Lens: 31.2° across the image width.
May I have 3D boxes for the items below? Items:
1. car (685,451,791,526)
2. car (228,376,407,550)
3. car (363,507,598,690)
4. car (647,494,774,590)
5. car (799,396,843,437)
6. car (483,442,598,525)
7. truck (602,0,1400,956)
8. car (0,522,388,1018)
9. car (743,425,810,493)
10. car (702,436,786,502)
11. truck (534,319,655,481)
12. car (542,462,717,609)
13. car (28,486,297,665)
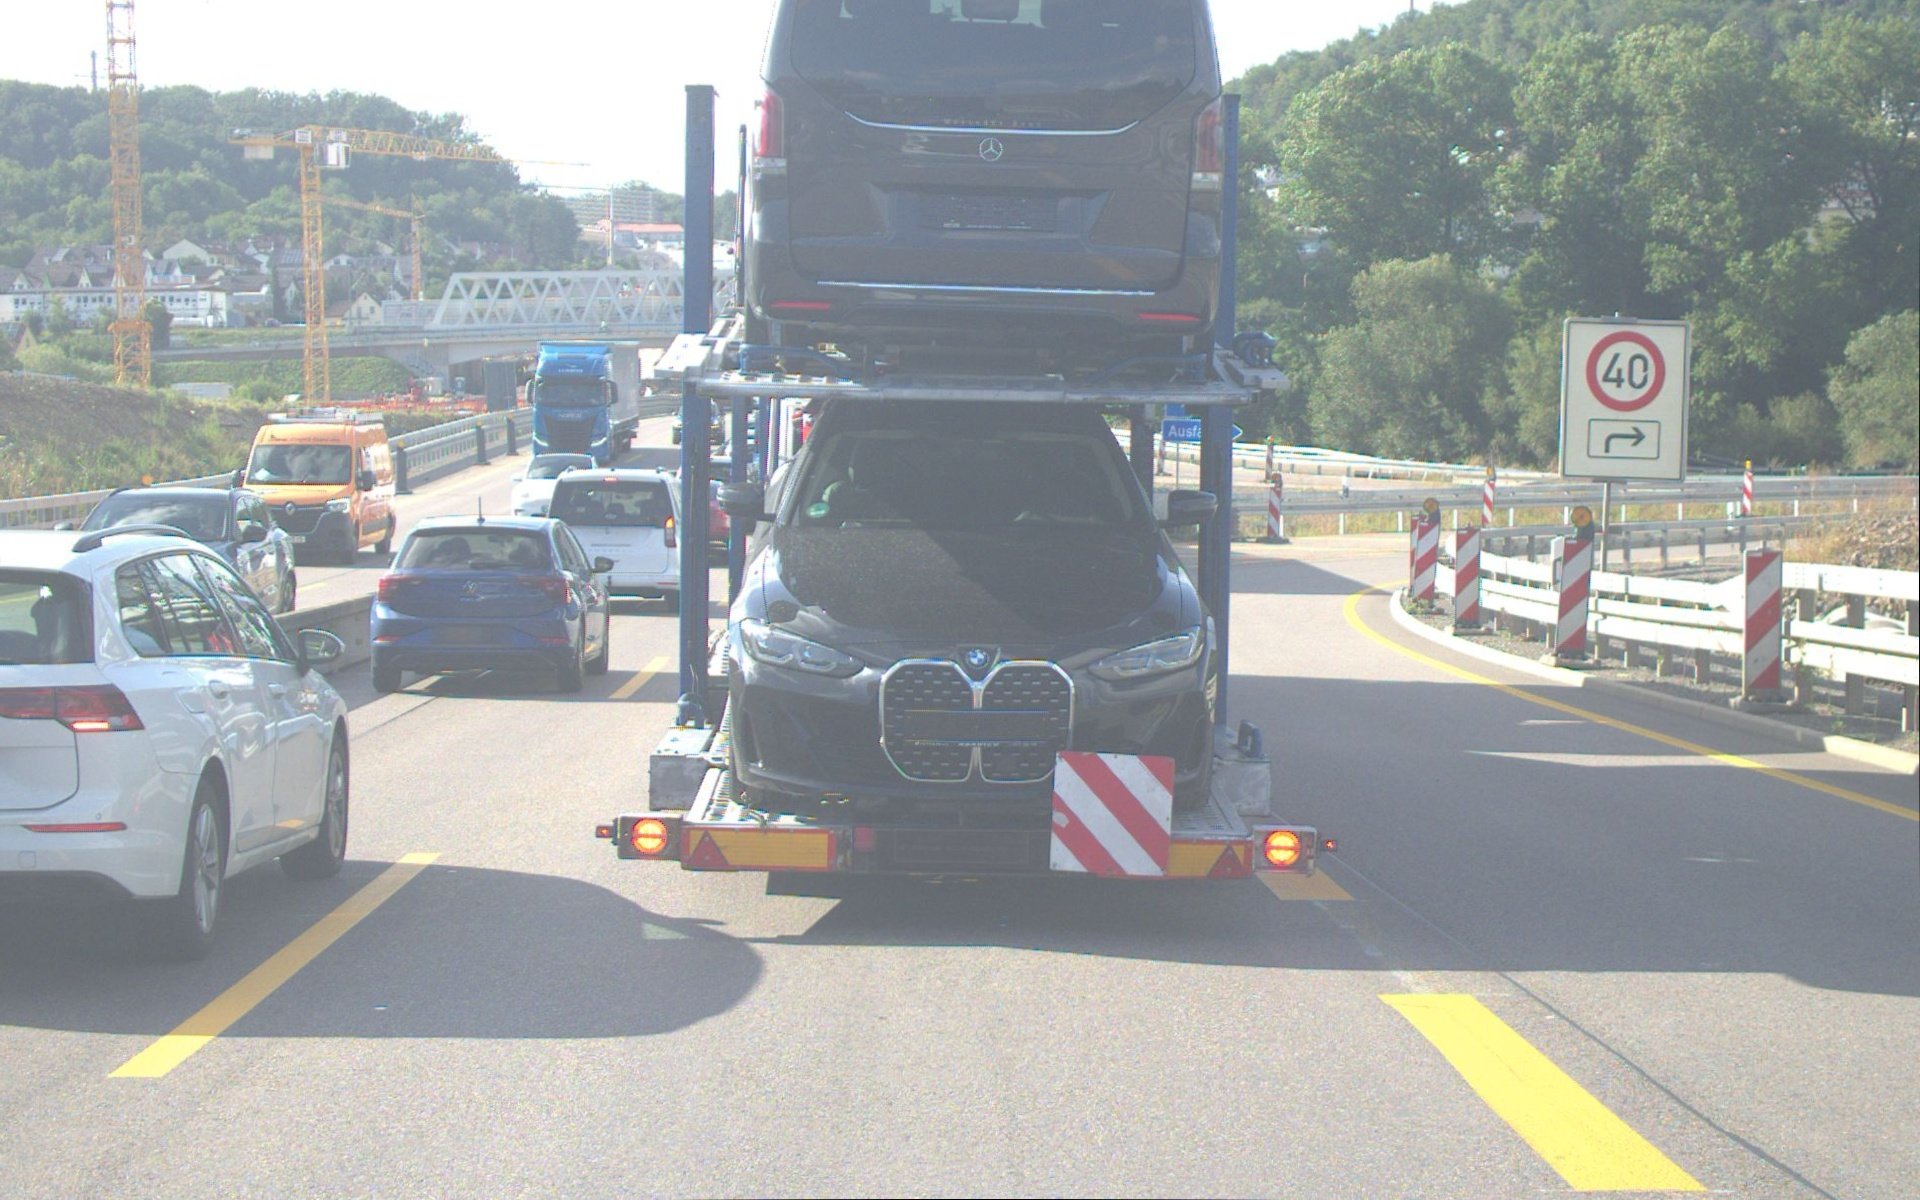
[{"bbox_3d":[-4.777,-2.422,74.423,1.993,1.546,4.001,1,2,0],"label":"car"},{"bbox_3d":[-11.237,-2.363,60.563,1.993,2.869,6.064,1,1,0],"label":"car"},{"bbox_3d":[-4.007,-0.062,29.228,1.721,1.417,4.001,1,1,-5],"label":"car"},{"bbox_3d":[-4.324,-0.982,60.133,1.993,1.551,4.401,1,0,-2],"label":"car"},{"bbox_3d":[-6.148,-8.096,152.025,1.844,1.642,4.505,1,1,-3],"label":"car"},{"bbox_3d":[-9.138,-2.513,75.160,1.993,1.678,4.000,1,0,0],"label":"car"},{"bbox_3d":[-0.078,-0.957,21.329,2.753,3.941,18.892,0,1,-1],"label":"truck"},{"bbox_3d":[-3.369,0.465,12.683,1.770,1.486,4.517,1,1,0],"label":"car"},{"bbox_3d":[-6.025,-4.620,113.329,1.993,2.007,4.000,1,0,0],"label":"car"},{"bbox_3d":[-5.808,-3.520,92.847,1.993,1.660,4.000,1,1,0],"label":"car"},{"bbox_3d":[-12.634,-6.820,119.886,2.822,4.772,13.054,1,0,0],"label":"truck"},{"bbox_3d":[-4.248,-0.792,44.737,1.823,1.786,4.000,1,0,1],"label":"car"},{"bbox_3d":[-7.821,-0.262,34.061,1.844,1.642,4.237,1,1,-3],"label":"car"}]
